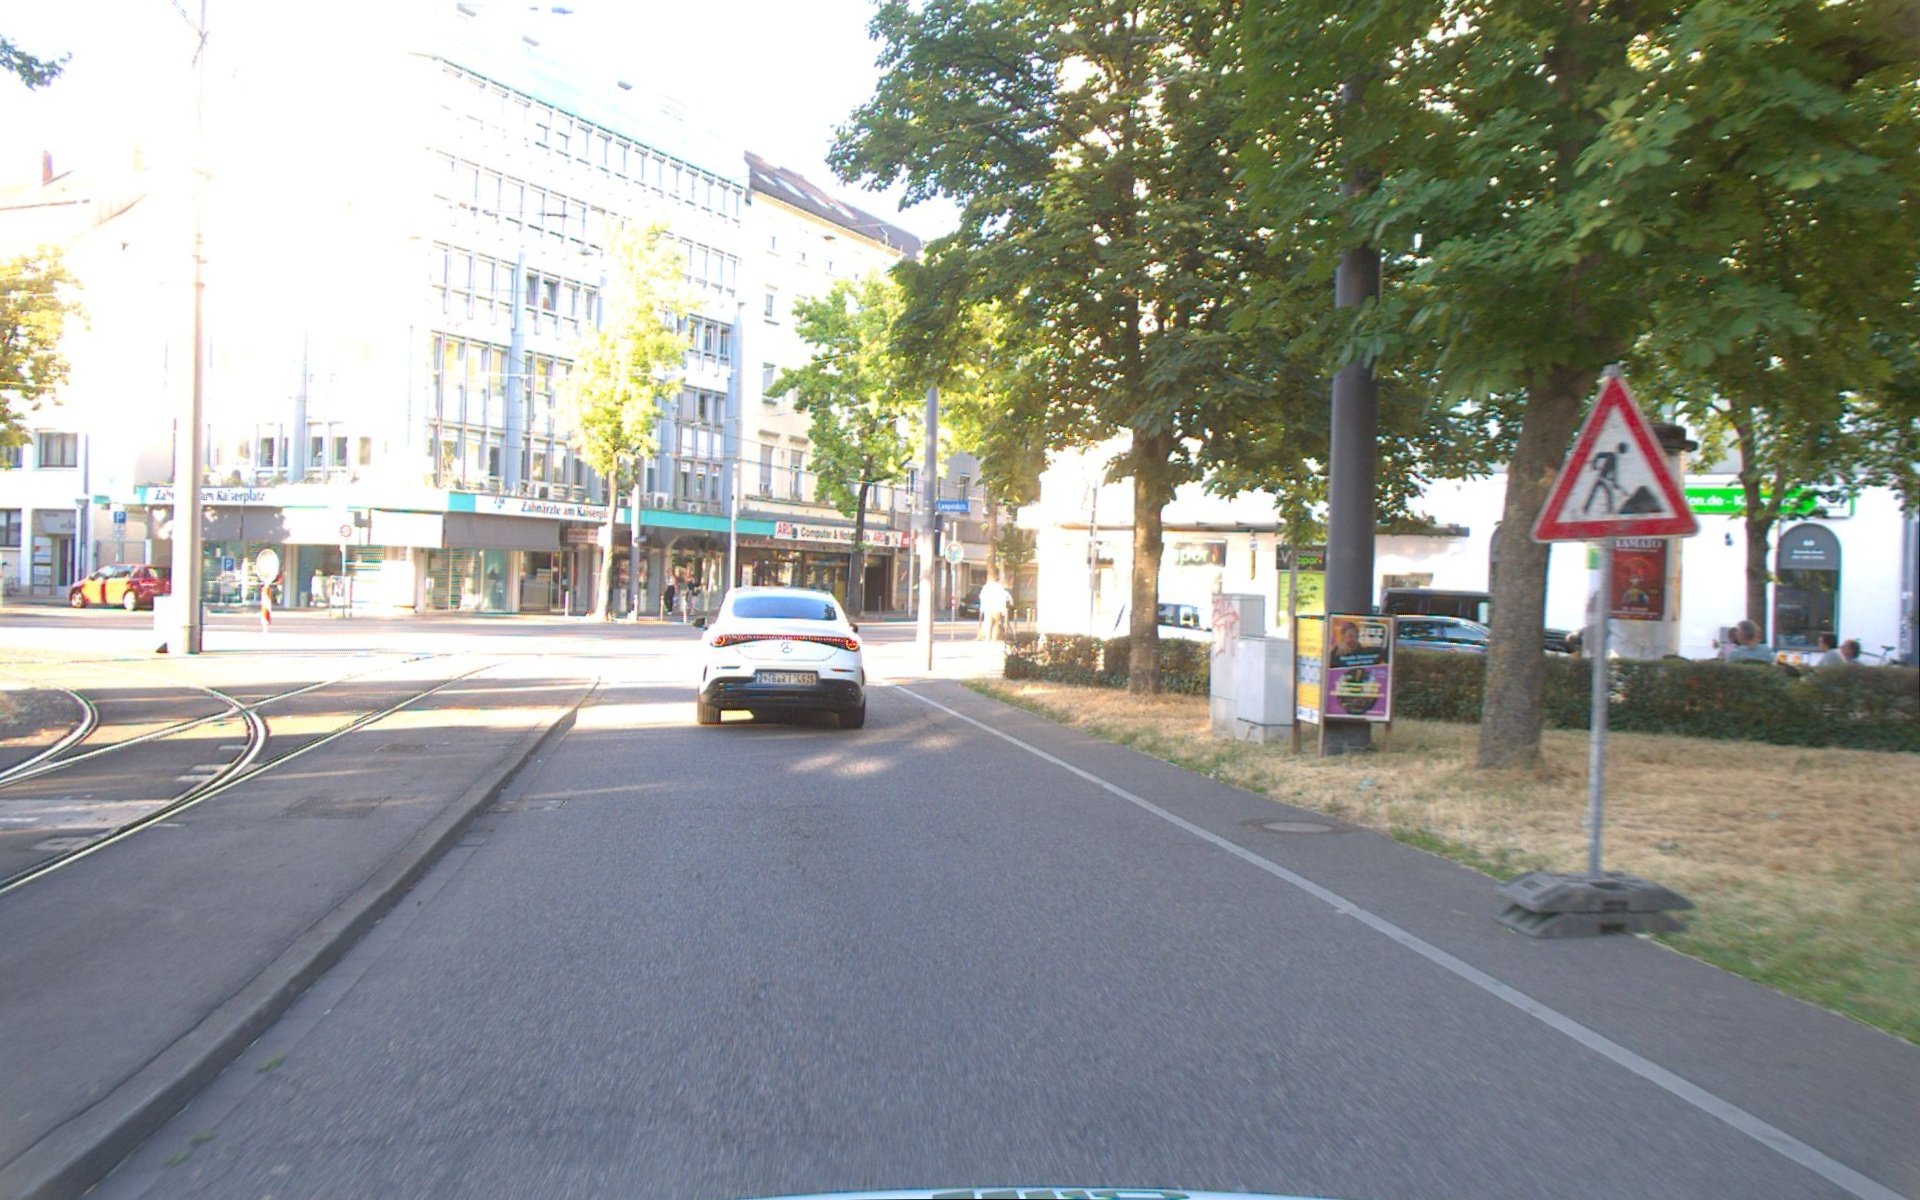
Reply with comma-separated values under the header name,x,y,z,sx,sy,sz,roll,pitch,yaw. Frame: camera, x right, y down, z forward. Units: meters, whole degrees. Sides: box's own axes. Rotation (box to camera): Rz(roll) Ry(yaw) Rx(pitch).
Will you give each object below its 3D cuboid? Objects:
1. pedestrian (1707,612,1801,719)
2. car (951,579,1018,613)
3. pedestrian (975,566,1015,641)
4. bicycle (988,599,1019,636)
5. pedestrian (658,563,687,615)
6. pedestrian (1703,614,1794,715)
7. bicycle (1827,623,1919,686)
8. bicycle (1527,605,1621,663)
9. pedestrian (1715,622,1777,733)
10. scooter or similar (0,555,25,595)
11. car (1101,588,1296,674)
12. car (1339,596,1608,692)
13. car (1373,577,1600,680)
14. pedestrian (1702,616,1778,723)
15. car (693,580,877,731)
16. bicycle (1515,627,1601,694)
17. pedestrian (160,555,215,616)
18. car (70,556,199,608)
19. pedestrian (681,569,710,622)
name,x,y,z,sx,sy,sz,roll,pitch,yaw
pedestrian,10.651,0.863,22.221,0.929,1.305,0.663,6,1,17
car,1.316,-0.201,86.360,1.924,1.668,3.996,2,0,26
pedestrian,0.984,0.098,46.079,0.823,2.049,0.846,2,0,20
bicycle,1.342,0.550,50.703,0.347,1.095,1.699,2,0,22
pedestrian,-11.432,-0.437,65.829,0.781,2.049,0.733,2,0,27
pedestrian,10.941,0.883,22.972,0.929,1.264,0.663,6,1,17
bicycle,19.804,1.159,35.604,1.942,1.267,0.686,2,0,25
bicycle,14.165,0.777,38.170,1.942,1.267,0.686,2,0,25
pedestrian,9.331,0.909,19.638,0.557,1.266,0.610,1,0,35
scooter or similar,-36.159,-0.964,62.888,0.748,1.422,1.901,2,1,-39
car,4.781,0.596,33.125,3.495,1.540,1.738,2,0,25
car,9.539,0.773,30.781,4.566,1.540,1.738,2,0,25
car,11.358,0.581,35.689,4.408,1.998,2.022,2,0,25
pedestrian,9.802,0.857,20.809,0.762,1.264,0.988,2,0,22
car,-1.979,0.541,18.729,1.832,1.494,4.037,1,1,-6
bicycle,8.984,0.906,24.816,1.516,0.945,0.547,2,0,-42
pedestrian,-22.274,-0.420,47.700,0.891,1.732,1.155,1,0,43
car,-26.964,-0.585,54.008,3.915,1.510,2.022,3,0,32
pedestrian,-10.468,-0.174,65.554,0.781,2.049,0.733,2,0,27
